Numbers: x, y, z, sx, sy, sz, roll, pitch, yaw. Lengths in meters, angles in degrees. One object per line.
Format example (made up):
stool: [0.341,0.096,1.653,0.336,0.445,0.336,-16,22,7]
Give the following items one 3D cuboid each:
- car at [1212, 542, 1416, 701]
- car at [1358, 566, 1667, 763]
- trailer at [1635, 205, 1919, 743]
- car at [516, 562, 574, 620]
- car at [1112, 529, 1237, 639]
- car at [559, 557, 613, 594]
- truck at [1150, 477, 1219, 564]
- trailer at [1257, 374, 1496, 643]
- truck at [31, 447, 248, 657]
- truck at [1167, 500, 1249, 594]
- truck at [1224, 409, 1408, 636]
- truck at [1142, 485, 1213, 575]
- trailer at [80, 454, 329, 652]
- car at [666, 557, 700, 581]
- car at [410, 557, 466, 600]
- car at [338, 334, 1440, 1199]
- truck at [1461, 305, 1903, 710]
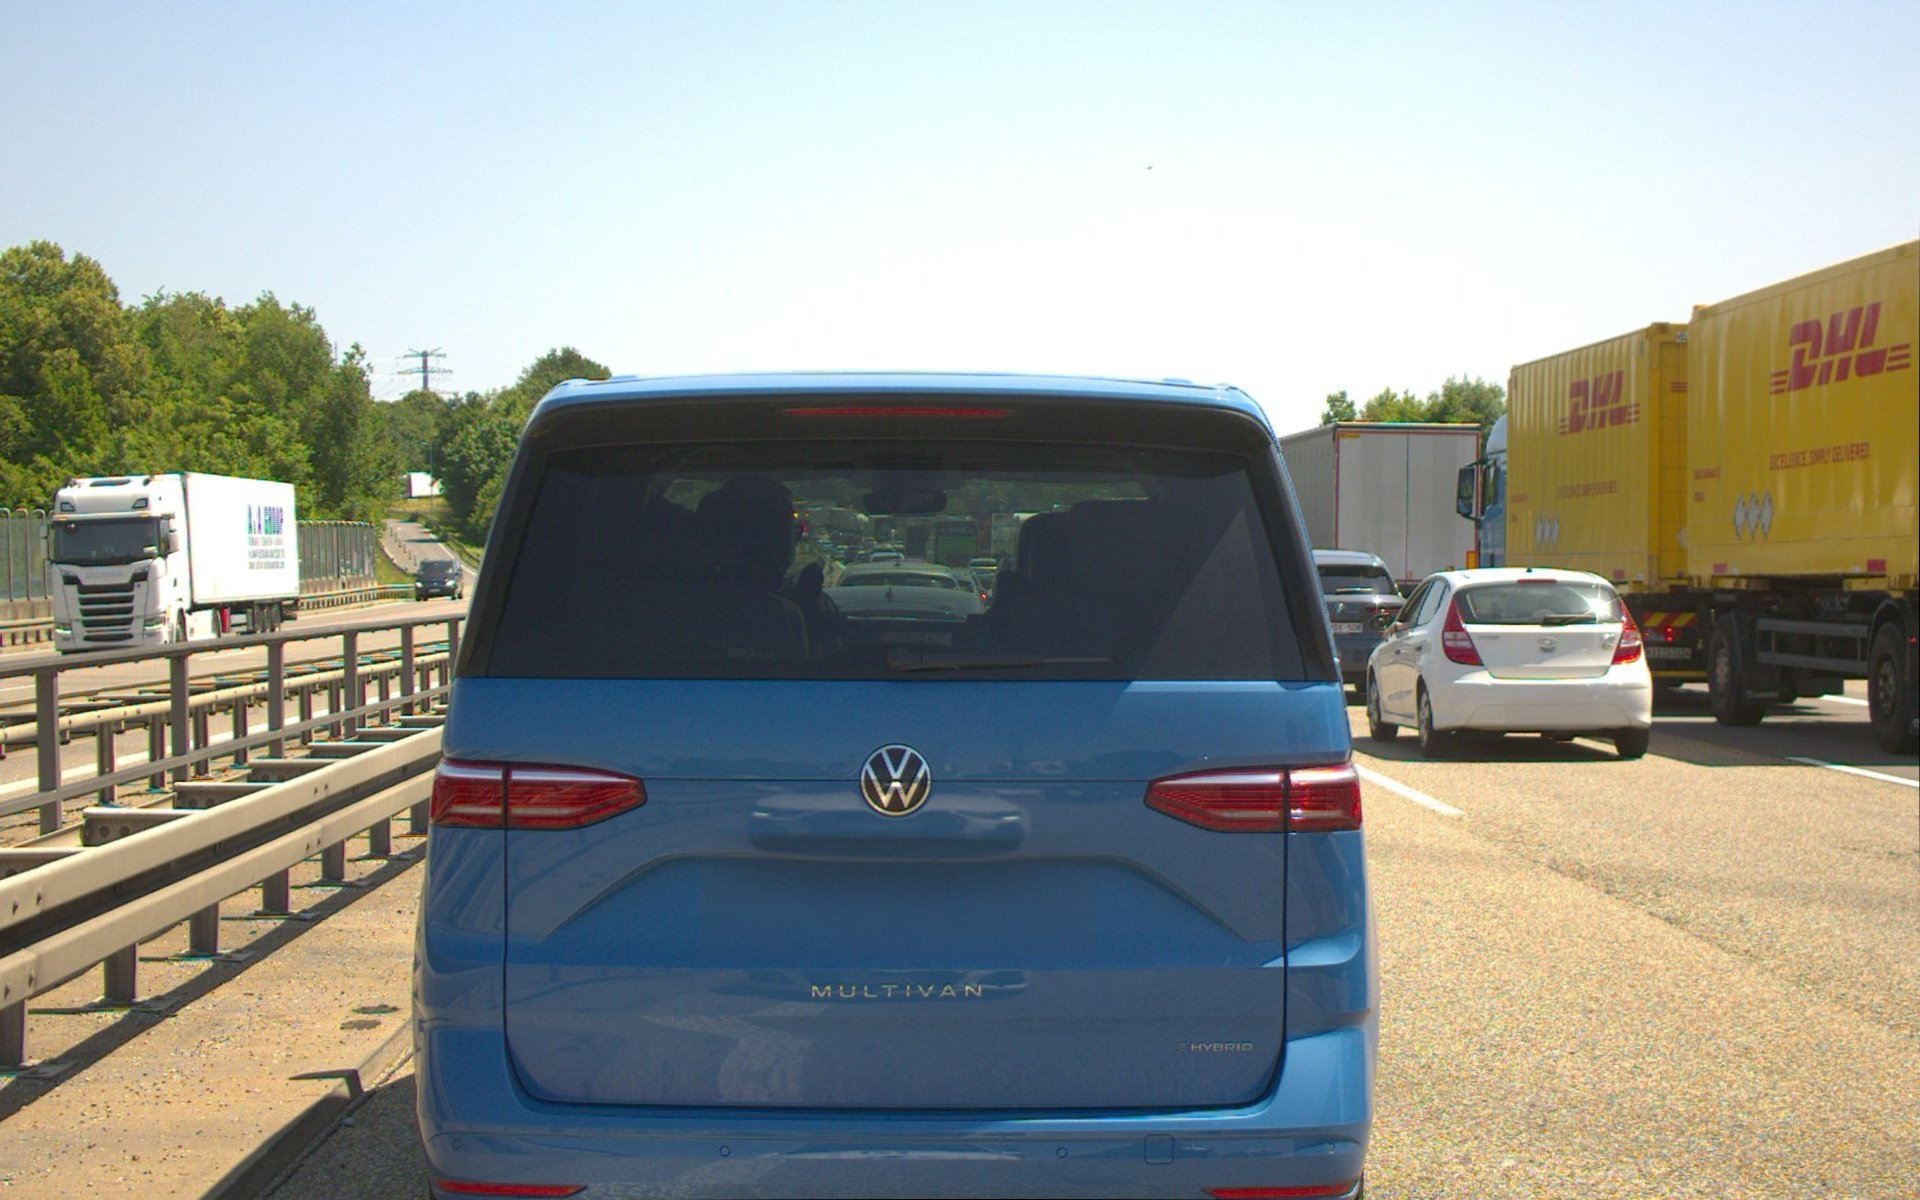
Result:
car: [3.949,0.223,38.909,1.815,1.673,3.932,1,0,-1]
car: [4.413,0.483,28.001,1.815,1.465,3.932,1,0,-1]
trailer: [8.402,-0.945,30.551,2.682,4.074,8.981,1,0,-2]
car: [-19.523,-0.416,161.944,1.993,2.573,6.651,-2,0,-2]
car: [3.882,-0.289,62.888,1.962,1.929,3.932,1,0,-1]
car: [-15.785,-1.060,145.079,1.772,1.486,4.605,-1,1,0]
truck: [6.947,-2.431,106.629,1.797,2.587,4.305,1,0,0]
trailer: [7.674,-1.591,64.906,3.026,4.595,10.925,1,0,0]
truck: [-17.968,-1.013,75.730,2.929,4.279,6.858,-3,0,0]
truck: [6.662,-1.409,92.596,1.798,2.441,4.504,1,0,0]
truck: [7.600,-1.596,74.341,3.026,4.595,7.921,1,0,0]
truck: [6.386,-2.029,101.393,1.742,2.540,4.210,1,0,0]
trailer: [-17.961,-1.055,82.860,2.906,4.292,13.661,-2,0,0]
car: [-19.084,-2.127,236.797,1.993,1.539,4.386,-2,0,0]
car: [-23.996,-0.971,158.142,1.957,1.899,4.951,-2,0,-2]
car: [-0.155,0.473,8.103,1.930,1.867,4.000,1,0,-1]
truck: [8.071,-0.955,39.936,2.699,4.074,9.940,1,0,-2]
